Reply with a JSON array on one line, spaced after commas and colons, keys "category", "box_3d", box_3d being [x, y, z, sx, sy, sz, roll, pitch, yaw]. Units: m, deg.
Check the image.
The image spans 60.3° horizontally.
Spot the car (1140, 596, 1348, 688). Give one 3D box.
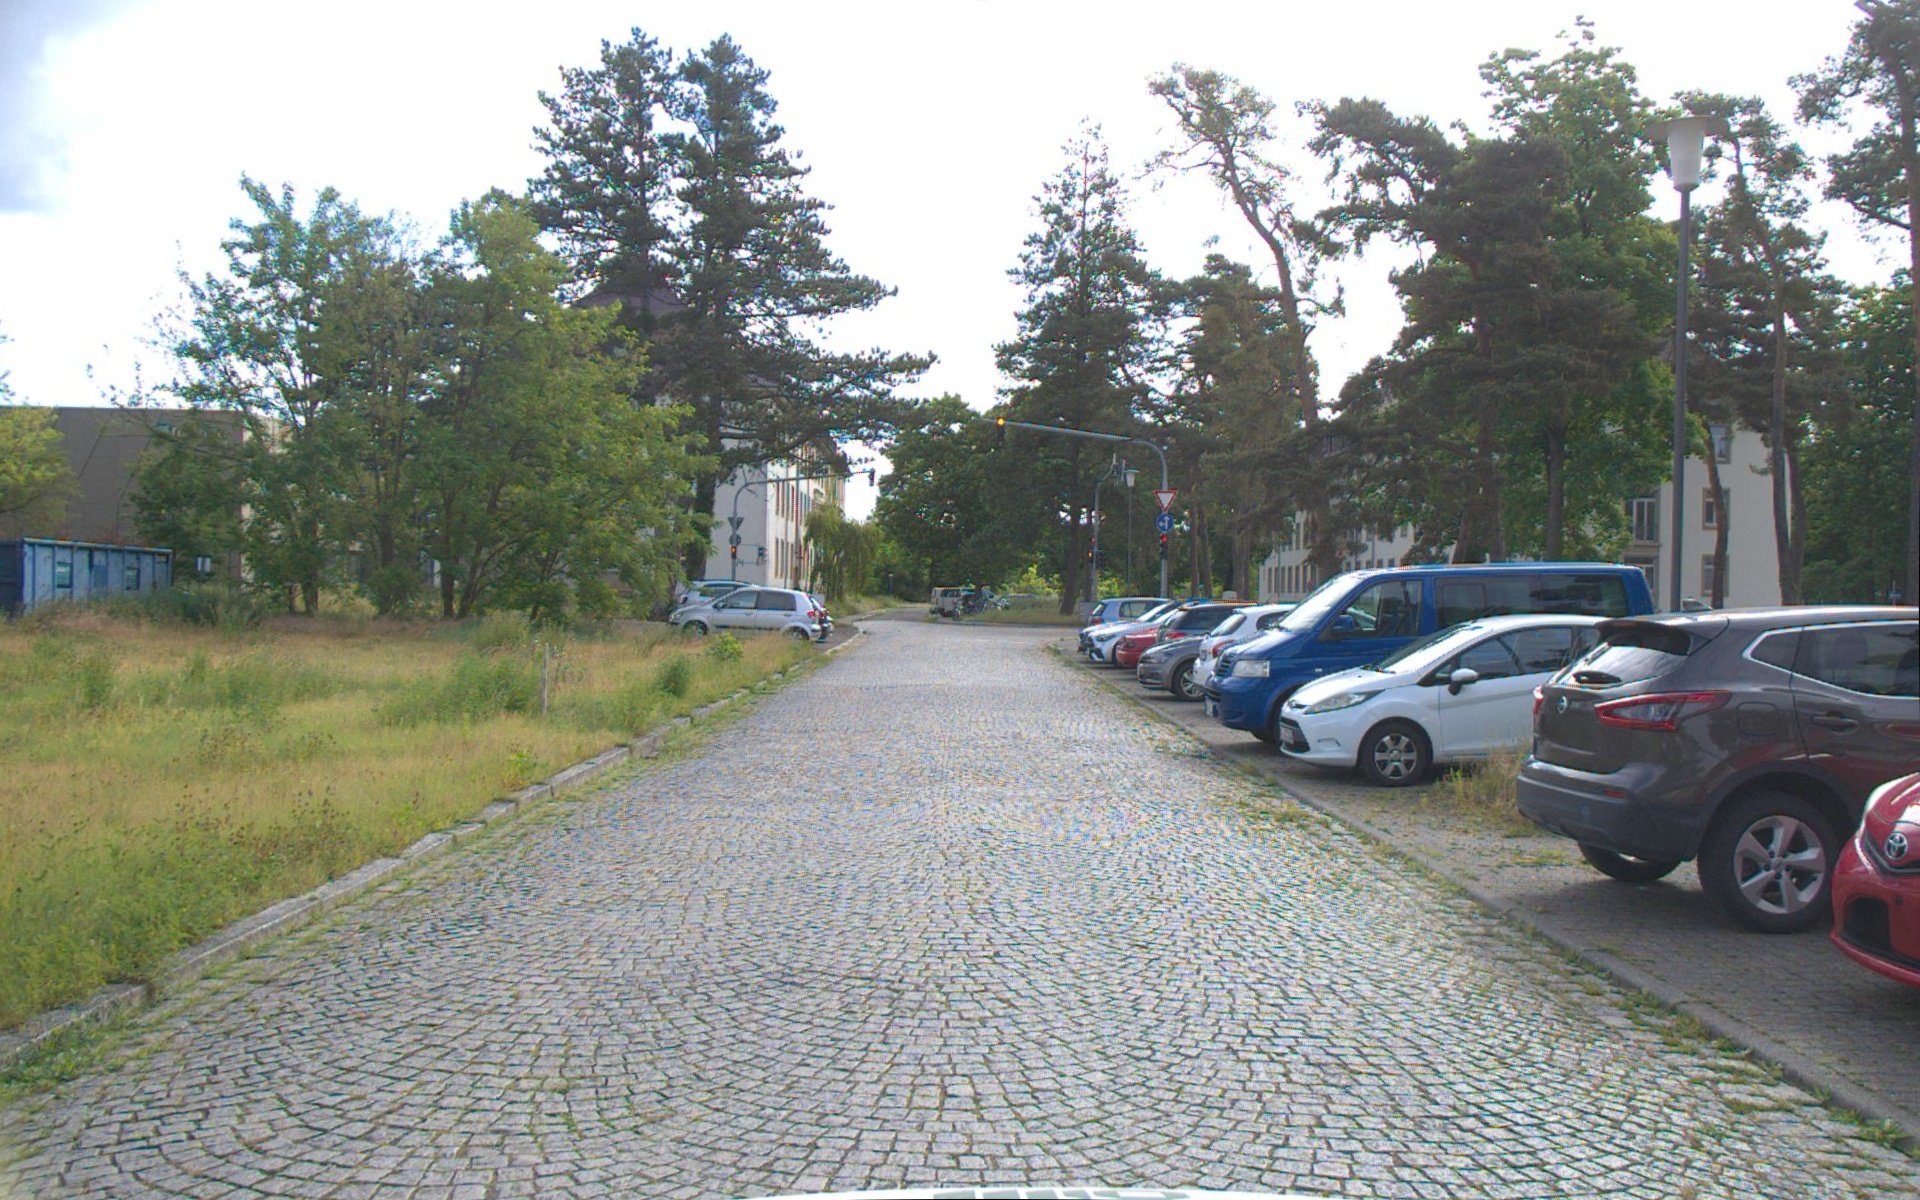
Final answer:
[{"category": "car", "box_3d": [4.956, 0.727, 29.055, 3.234, 1.530, 1.659, 1, 0, -12]}]

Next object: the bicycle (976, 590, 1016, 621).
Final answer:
[{"category": "bicycle", "box_3d": [2.006, 0.314, 91.866, 2.119, 1.644, 0.811, 1, 0, -7]}]

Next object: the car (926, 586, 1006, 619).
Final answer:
[{"category": "car", "box_3d": [0.369, 0.154, 108.368, 4.960, 2.049, 1.995, 1, 0, -11]}]

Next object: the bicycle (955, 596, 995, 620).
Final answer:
[{"category": "bicycle", "box_3d": [0.853, 0.452, 92.352, 2.119, 1.290, 0.811, 1, 0, -7]}]

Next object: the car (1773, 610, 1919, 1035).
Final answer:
[{"category": "car", "box_3d": [5.480, 0.854, 6.305, 3.906, 1.545, 1.738, 1, 0, -1]}]

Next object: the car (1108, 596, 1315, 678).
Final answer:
[{"category": "car", "box_3d": [5.142, 0.738, 34.020, 3.910, 1.570, 1.662, 1, 0, -7]}]

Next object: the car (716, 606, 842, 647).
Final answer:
[{"category": "car", "box_3d": [-5.303, 0.769, 48.466, 3.601, 1.113, 1.644, 1, 0, -7]}]

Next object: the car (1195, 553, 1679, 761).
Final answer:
[{"category": "car", "box_3d": [5.030, 0.585, 17.810, 4.687, 2.075, 1.737, 1, 0, -3]}]

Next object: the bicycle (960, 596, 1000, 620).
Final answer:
[{"category": "bicycle", "box_3d": [1.098, 0.452, 91.142, 2.119, 1.290, 0.811, 1, 0, -7]}]

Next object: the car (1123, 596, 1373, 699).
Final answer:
[{"category": "car", "box_3d": [4.523, 0.742, 26.170, 3.534, 1.533, 1.659, 1, 0, -12]}]

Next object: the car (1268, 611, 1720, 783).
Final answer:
[{"category": "car", "box_3d": [4.855, 0.848, 15.337, 3.648, 1.449, 1.653, 0, 0, -3]}]

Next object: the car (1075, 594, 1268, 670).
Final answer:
[{"category": "car", "box_3d": [4.613, 0.698, 36.314, 3.910, 1.570, 1.662, 1, 0, -7]}]

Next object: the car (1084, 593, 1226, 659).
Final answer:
[{"category": "car", "box_3d": [4.883, 0.646, 41.634, 3.324, 1.570, 1.389, 1, 0, -7]}]

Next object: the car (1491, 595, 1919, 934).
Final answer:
[{"category": "car", "box_3d": [5.101, 0.821, 8.925, 3.871, 1.608, 1.761, 1, 0, -2]}]

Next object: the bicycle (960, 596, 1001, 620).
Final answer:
[{"category": "bicycle", "box_3d": [1.109, 0.447, 90.555, 2.119, 1.290, 0.811, 1, 0, -7]}]

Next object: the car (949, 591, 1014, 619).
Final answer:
[{"category": "car", "box_3d": [1.347, 0.301, 105.105, 3.911, 1.673, 1.997, 1, 0, -7]}]

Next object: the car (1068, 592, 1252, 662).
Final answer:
[{"category": "car", "box_3d": [4.686, 0.629, 39.061, 4.043, 1.570, 1.662, 1, 0, -7]}]

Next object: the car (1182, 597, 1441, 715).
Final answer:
[{"category": "car", "box_3d": [4.876, 0.759, 23.209, 3.226, 1.531, 1.663, 1, 0, -3]}]

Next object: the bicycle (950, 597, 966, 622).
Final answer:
[{"category": "bicycle", "box_3d": [-0.083, 0.473, 86.777, 0.793, 1.290, 1.973, 1, 0, 0]}]

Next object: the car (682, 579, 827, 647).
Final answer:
[{"category": "car", "box_3d": [-5.726, 0.358, 46.196, 3.912, 1.780, 1.924, 1, 0, -8]}]

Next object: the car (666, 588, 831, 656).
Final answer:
[{"category": "car", "box_3d": [-5.170, 0.522, 40.672, 3.911, 1.579, 1.997, 1, 0, -7]}]

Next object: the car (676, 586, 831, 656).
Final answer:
[{"category": "car", "box_3d": [-5.363, 0.535, 43.157, 3.911, 1.735, 1.997, 1, 0, -7]}]

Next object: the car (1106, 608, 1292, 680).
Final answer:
[{"category": "car", "box_3d": [4.553, 0.831, 31.764, 3.229, 1.289, 1.662, 1, 0, -7]}]
